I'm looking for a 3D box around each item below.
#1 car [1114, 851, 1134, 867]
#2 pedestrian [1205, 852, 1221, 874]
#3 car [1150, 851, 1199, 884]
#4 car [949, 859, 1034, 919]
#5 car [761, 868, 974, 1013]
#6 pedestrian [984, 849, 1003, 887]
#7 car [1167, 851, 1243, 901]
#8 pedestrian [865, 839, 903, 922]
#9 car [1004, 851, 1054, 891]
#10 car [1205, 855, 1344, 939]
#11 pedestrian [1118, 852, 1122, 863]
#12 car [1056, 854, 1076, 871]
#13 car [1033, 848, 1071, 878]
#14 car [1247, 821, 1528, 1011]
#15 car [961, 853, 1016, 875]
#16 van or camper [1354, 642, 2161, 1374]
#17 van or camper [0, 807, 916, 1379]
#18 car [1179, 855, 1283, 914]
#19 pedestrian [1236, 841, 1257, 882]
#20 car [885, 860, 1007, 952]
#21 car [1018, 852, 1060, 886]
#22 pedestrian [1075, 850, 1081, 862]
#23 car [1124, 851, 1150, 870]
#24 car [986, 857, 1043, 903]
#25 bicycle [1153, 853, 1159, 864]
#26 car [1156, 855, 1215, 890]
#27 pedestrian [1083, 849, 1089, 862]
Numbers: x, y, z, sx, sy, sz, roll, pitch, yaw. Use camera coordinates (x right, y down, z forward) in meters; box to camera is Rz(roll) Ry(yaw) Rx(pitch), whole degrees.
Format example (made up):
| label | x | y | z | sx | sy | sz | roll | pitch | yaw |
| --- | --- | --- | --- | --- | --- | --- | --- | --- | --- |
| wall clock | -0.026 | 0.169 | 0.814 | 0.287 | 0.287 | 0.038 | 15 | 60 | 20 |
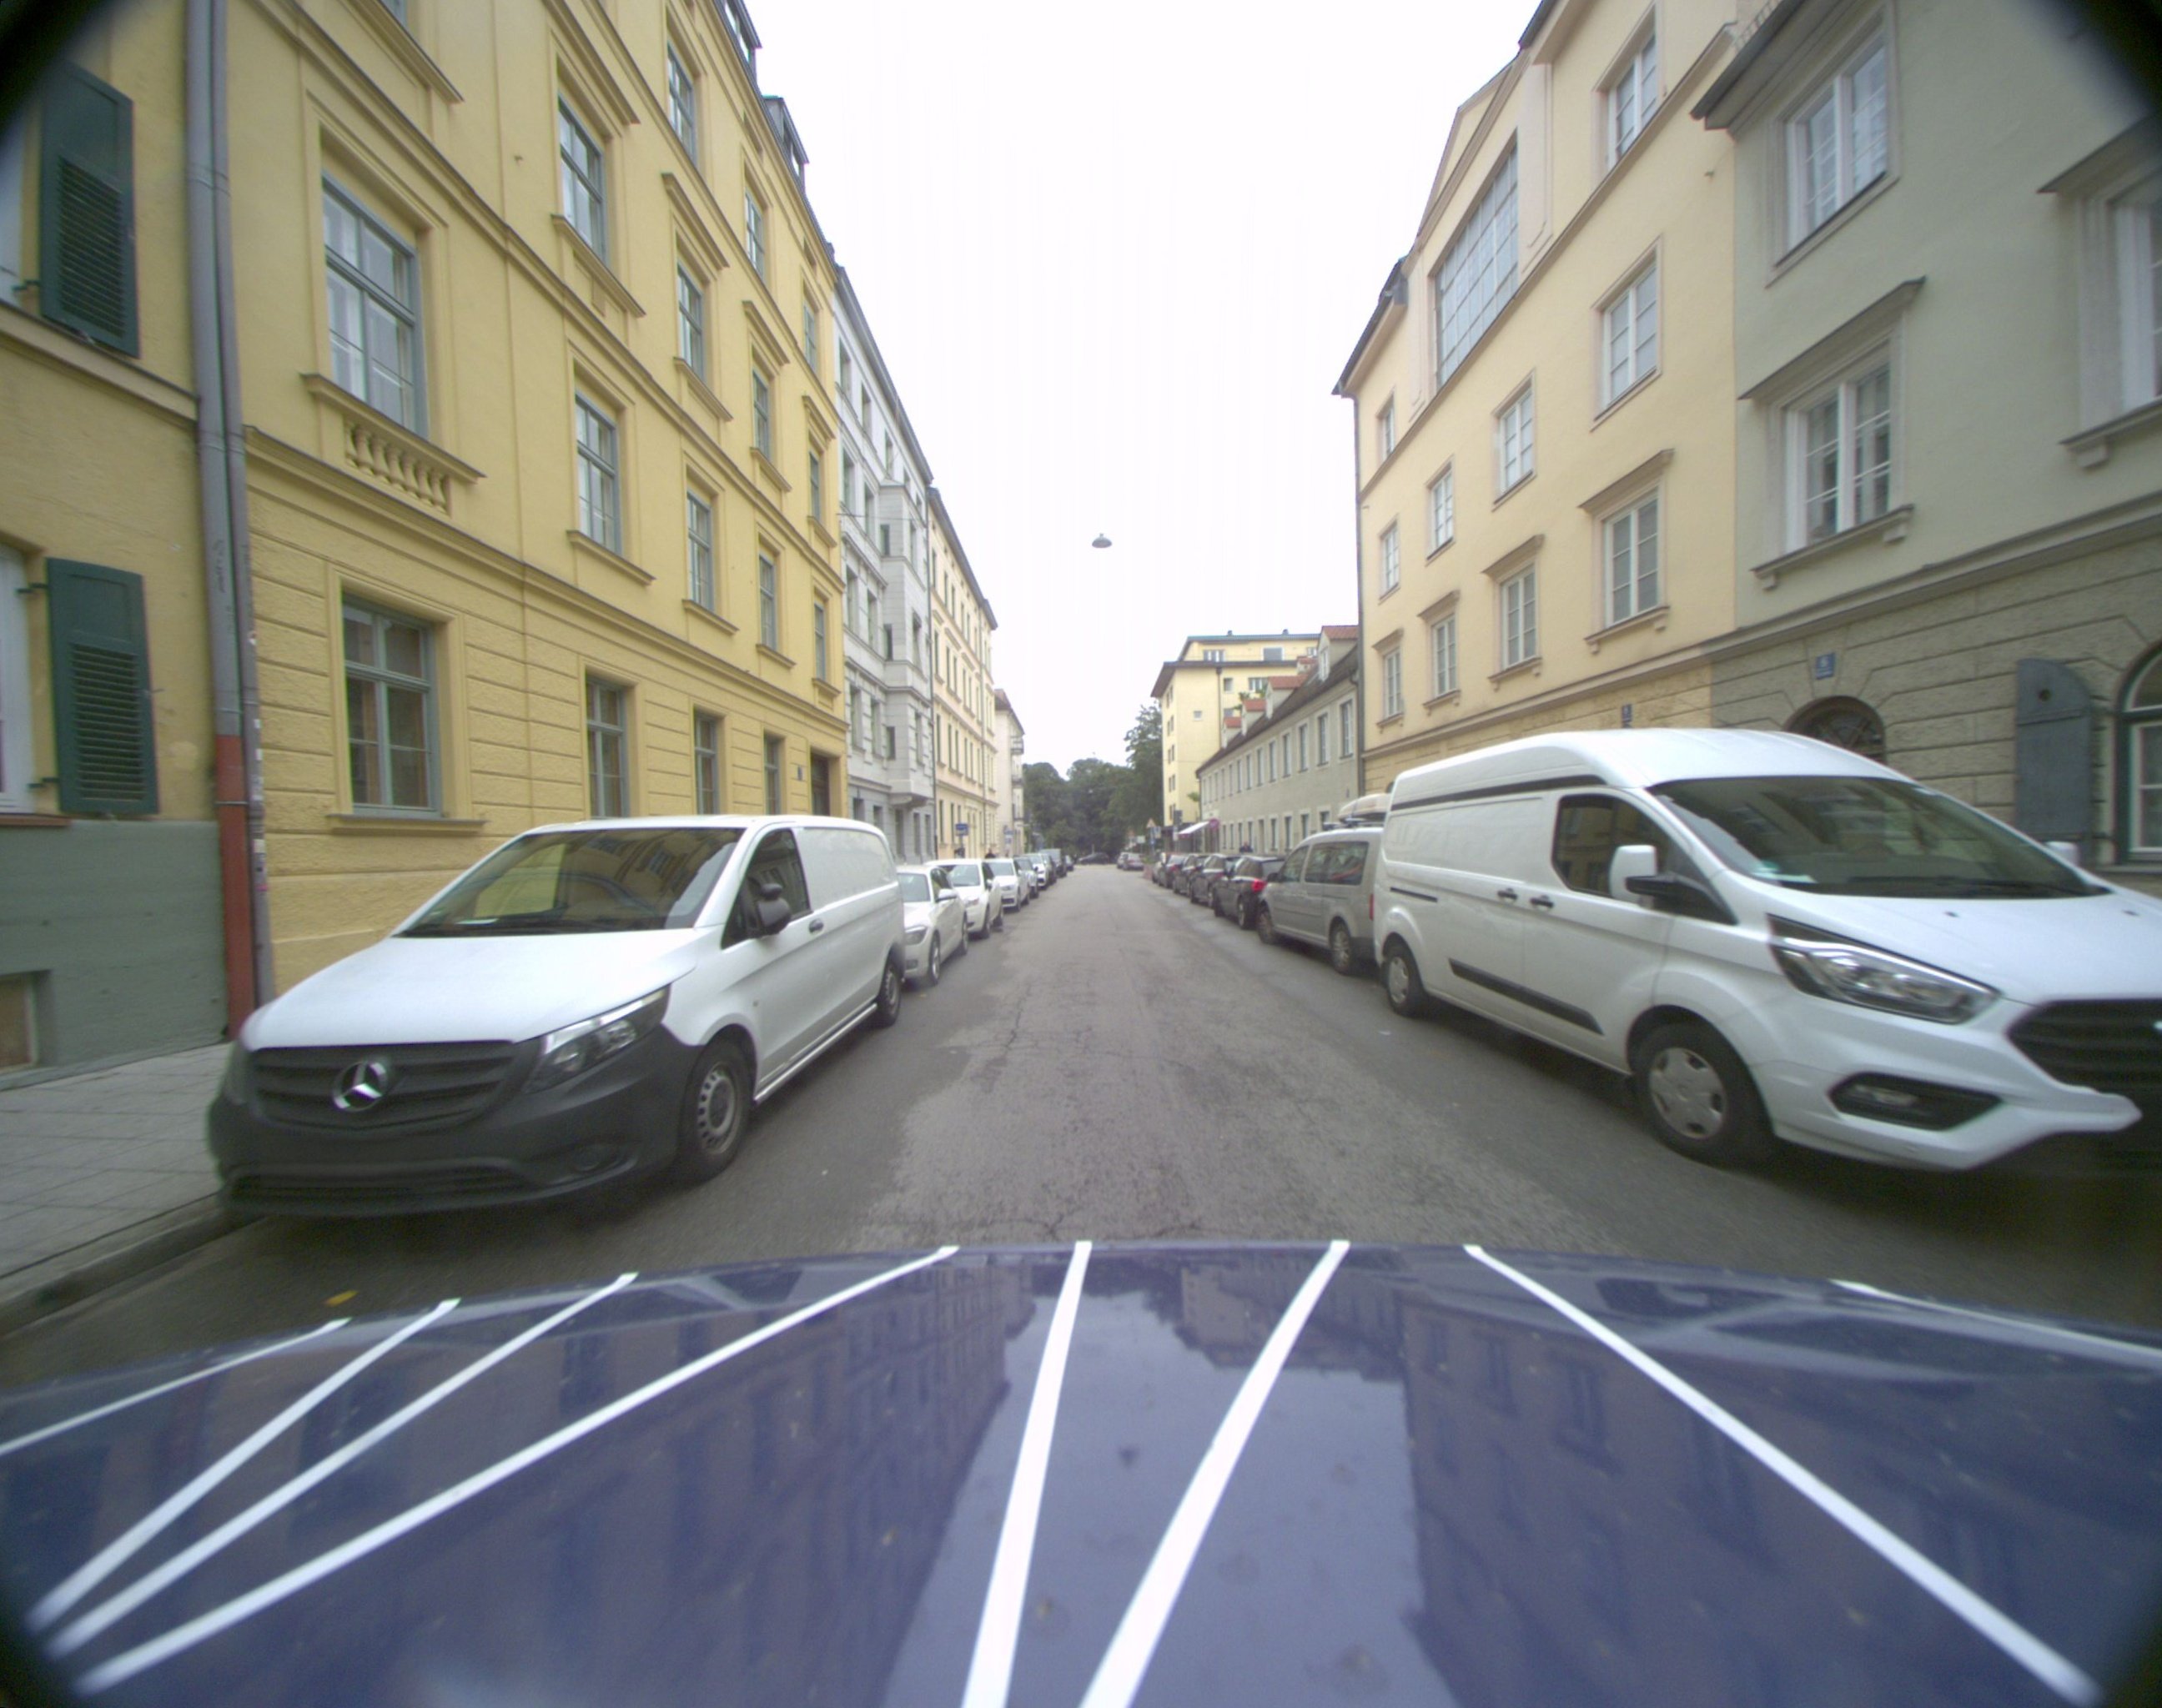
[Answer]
| label | x | y | z | sx | sy | sz | roll | pitch | yaw |
| --- | --- | --- | --- | --- | --- | --- | --- | --- | --- |
| car | 4.272 | 0.503 | 75.758 | 1.807 | 1.574 | 4.339 | 0 | -1 | 1 |
| pedestrian | 7.911 | 0.542 | 45.594 | 0.805 | 1.283 | 0.693 | -1 | 2 | 1 |
| car | 4.499 | 0.632 | 37.036 | 1.759 | 1.466 | 3.713 | -2 | 1 | -2 |
| car | -2.418 | 0.903 | 21.688 | 1.712 | 1.400 | 4.814 | -1 | 1 | 1 |
| car | -2.569 | 0.965 | 10.220 | 1.712 | 1.384 | 4.205 | -1 | 1 | -1 |
| pedestrian | -4.042 | 0.616 | 35.239 | 0.720 | 1.708 | 1.003 | -1 | 2 | 0 |
| car | 4.127 | 0.680 | 25.917 | 1.759 | 1.487 | 4.199 | -1 | 1 | -2 |
| pedestrian | -4.816 | 0.629 | 18.593 | 0.671 | 1.969 | 0.708 | 2 | 2 | 1 |
| car | -2.214 | 0.676 | 33.563 | 1.747 | 1.574 | 4.466 | -1 | 1 | 1 |
| car | 3.792 | 0.769 | 15.597 | 1.759 | 1.401 | 4.102 | -1 | 1 | 0 |
| pedestrian | 6.277 | 0.516 | 121.423 | 0.634 | 1.771 | 0.801 | 0 | -1 | 1 |
| car | -1.322 | 0.725 | 67.996 | 1.680 | 1.416 | 4.203 | -3 | 0 | -1 |
| car | -1.835 | 0.537 | 50.097 | 2.002 | 1.853 | 5.253 | -2 | 0 | 2 |
| car | 3.802 | 0.639 | 10.438 | 1.759 | 1.983 | 4.623 | -2 | 1 | -3 |
| car | -7.281 | 0.797 | 60.077 | 4.099 | 1.595 | 1.755 | -1 | -1 | -1 |
| van or camper | 3.634 | 0.445 | 4.997 | 1.759 | 2.268 | 5.272 | -1 | 1 | 0 |
| van or camper | -2.642 | 0.776 | 5.042 | 1.838 | 1.861 | 5.078 | -1 | 1 | 1 |
| car | 3.932 | 0.748 | 20.586 | 1.821 | 1.433 | 4.130 | 0 | 0 | -3 |
| pedestrian | 7.705 | 0.345 | 35.408 | 0.824 | 1.887 | 0.827 | -1 | 2 | 0 |
| car | -2.502 | 0.911 | 14.997 | 1.712 | 1.446 | 4.095 | -1 | 1 | -1 |
| car | -2.056 | 0.713 | 38.601 | 1.759 | 1.512 | 4.274 | -1 | 1 | 1 |
| pedestrian | -0.447 | 0.269 | 101.487 | 0.686 | 1.662 | 0.774 | -3 | -2 | 2 |
| car | 4.558 | 0.497 | 62.405 | 1.683 | 1.463 | 4.949 | 0 | 0 | -2 |
| car | -2.295 | 0.871 | 27.214 | 1.712 | 1.396 | 4.206 | -1 | 1 | -1 |
| bicycle | 8.542 | 0.474 | 86.935 | 0.563 | 1.203 | 1.854 | -2 | 1 | 4 |
| car | 4.268 | 0.731 | 31.820 | 1.803 | 1.331 | 4.685 | -1 | 0 | 0 |
| pedestrian | 0.685 | 0.204 | 101.291 | 0.639 | 1.662 | 0.774 | -3 | -2 | 2 |
